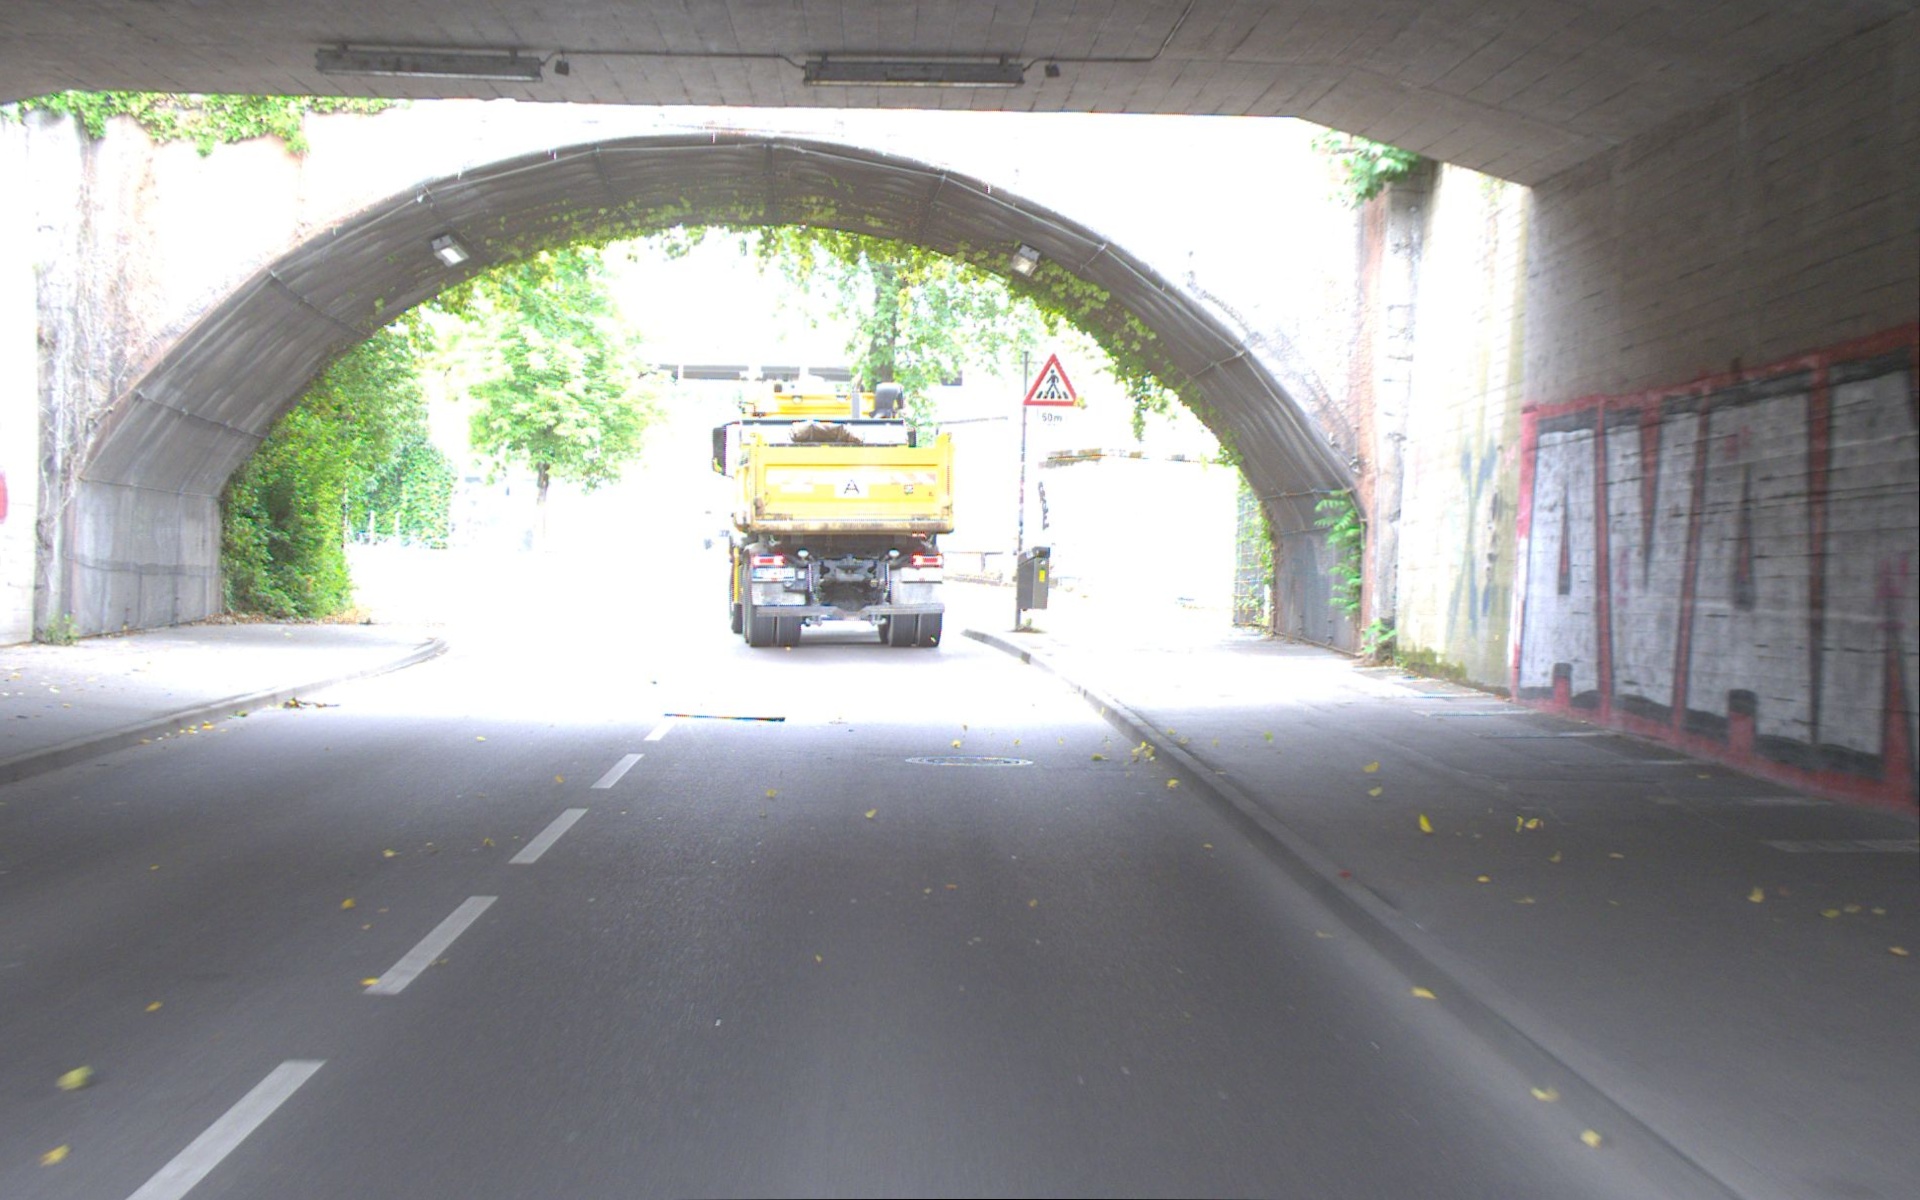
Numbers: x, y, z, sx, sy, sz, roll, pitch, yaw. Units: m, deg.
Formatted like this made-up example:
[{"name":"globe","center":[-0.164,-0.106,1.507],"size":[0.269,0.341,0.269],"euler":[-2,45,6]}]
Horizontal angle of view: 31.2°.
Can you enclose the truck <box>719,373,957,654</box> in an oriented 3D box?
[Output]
[{"name":"truck","center":[-1.789,-1.242,46.647],"size":[2.764,3.471,8.131],"euler":[0,2,-5]}]

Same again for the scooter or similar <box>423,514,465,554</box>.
[{"name":"scooter or similar","center":[-16.780,-2.143,111.812],"size":[1.187,1.202,0.468],"euler":[5,-1,-37]}]

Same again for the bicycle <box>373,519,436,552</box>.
[{"name":"bicycle","center":[-18.124,-2.096,112.243],"size":[1.966,0.862,0.511],"euler":[6,-1,-41]}]
